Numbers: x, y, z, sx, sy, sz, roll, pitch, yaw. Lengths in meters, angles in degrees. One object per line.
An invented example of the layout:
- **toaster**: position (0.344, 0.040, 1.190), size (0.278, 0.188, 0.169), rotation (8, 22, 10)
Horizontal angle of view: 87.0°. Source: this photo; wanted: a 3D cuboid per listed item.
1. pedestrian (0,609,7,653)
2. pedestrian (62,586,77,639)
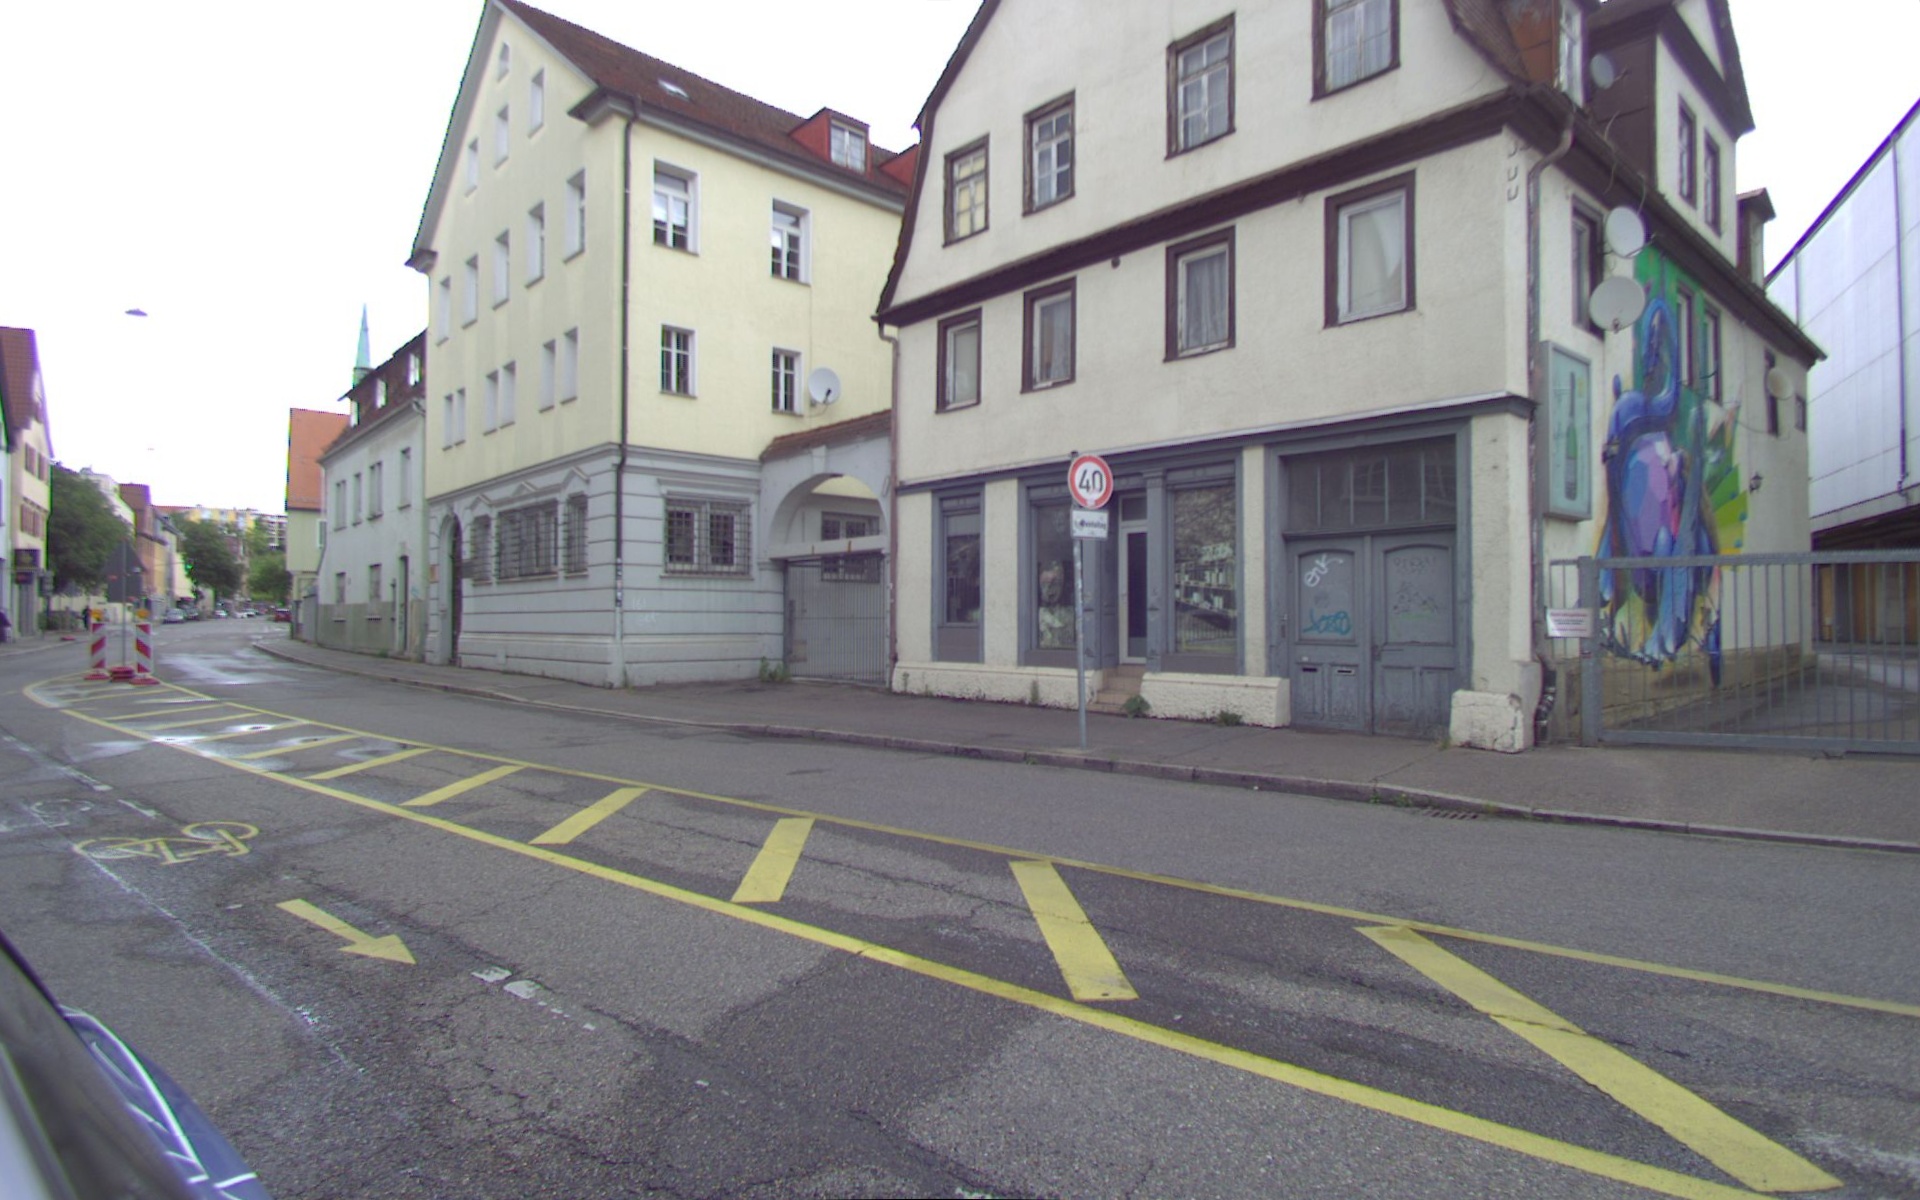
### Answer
- **pedestrian**: position (-35.964, 1.153, 37.612), size (0.714, 1.625, 0.649), rotation (2, -2, -39)
- **pedestrian**: position (-43.727, 0.618, 49.689), size (0.487, 2.547, 0.747), rotation (1, -2, -38)
